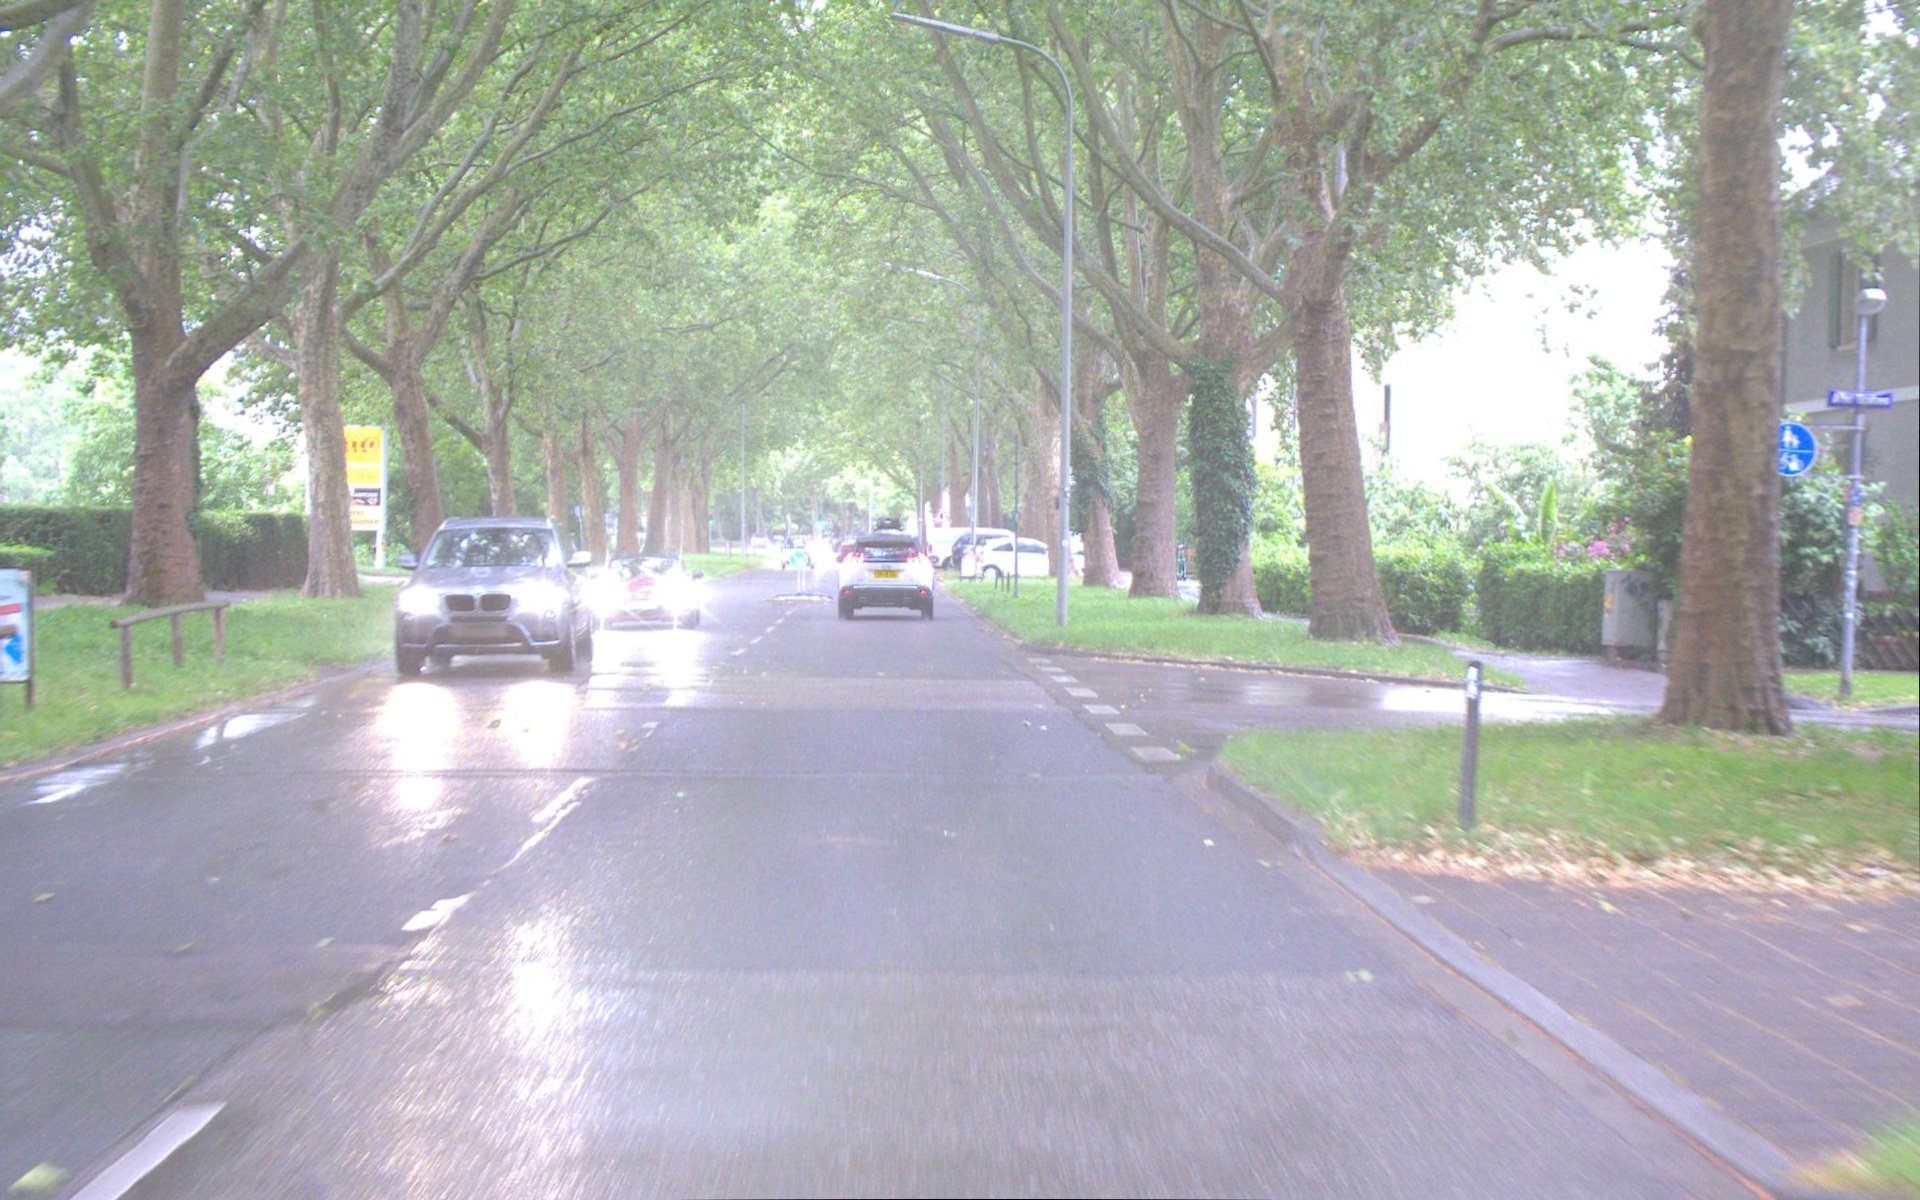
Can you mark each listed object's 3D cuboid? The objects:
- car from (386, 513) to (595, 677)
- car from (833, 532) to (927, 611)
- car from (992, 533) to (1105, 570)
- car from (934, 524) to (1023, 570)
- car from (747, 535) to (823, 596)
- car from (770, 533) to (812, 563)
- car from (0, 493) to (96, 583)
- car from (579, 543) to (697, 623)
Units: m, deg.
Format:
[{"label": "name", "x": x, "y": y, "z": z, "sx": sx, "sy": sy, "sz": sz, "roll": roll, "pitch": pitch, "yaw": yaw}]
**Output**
[{"label": "car", "x": -5.062, "y": -0.111, "z": 37.549, "sx": 1.809, "sy": 1.678, "sz": 4.449, "roll": 0, "pitch": 1, "yaw": -2}, {"label": "car", "x": -1.511, "y": -0.554, "z": 64.835, "sx": 1.706, "sy": 1.406, "sz": 3.645, "roll": 0, "pitch": 1, "yaw": -1}, {"label": "car", "x": 2.870, "y": -1.582, "z": 111.847, "sx": 3.546, "sy": 1.151, "sz": 1.712, "roll": 0, "pitch": 1, "yaw": -4}, {"label": "car", "x": 0.738, "y": -2.176, "z": 139.684, "sx": 3.546, "sy": 1.835, "sz": 1.712, "roll": 0, "pitch": 1, "yaw": -3}, {"label": "car", "x": -4.157, "y": -0.839, "z": 82.100, "sx": 1.706, "sy": 1.406, "sz": 3.645, "roll": 0, "pitch": 1, "yaw": -1}, {"label": "car", "x": -7.784, "y": -2.413, "z": 158.780, "sx": 1.720, "sy": 1.250, "sz": 4.000, "roll": 2, "pitch": 1, "yaw": -1}, {"label": "car", "x": -18.307, "y": -1.195, "z": 63.852, "sx": 3.987, "sy": 1.617, "sz": 2.000, "roll": 1, "pitch": 1, "yaw": -1}, {"label": "car", "x": -5.372, "y": -0.306, "z": 57.616, "sx": 1.706, "sy": 1.246, "sz": 3.645, "roll": 0, "pitch": 1, "yaw": -1}]
